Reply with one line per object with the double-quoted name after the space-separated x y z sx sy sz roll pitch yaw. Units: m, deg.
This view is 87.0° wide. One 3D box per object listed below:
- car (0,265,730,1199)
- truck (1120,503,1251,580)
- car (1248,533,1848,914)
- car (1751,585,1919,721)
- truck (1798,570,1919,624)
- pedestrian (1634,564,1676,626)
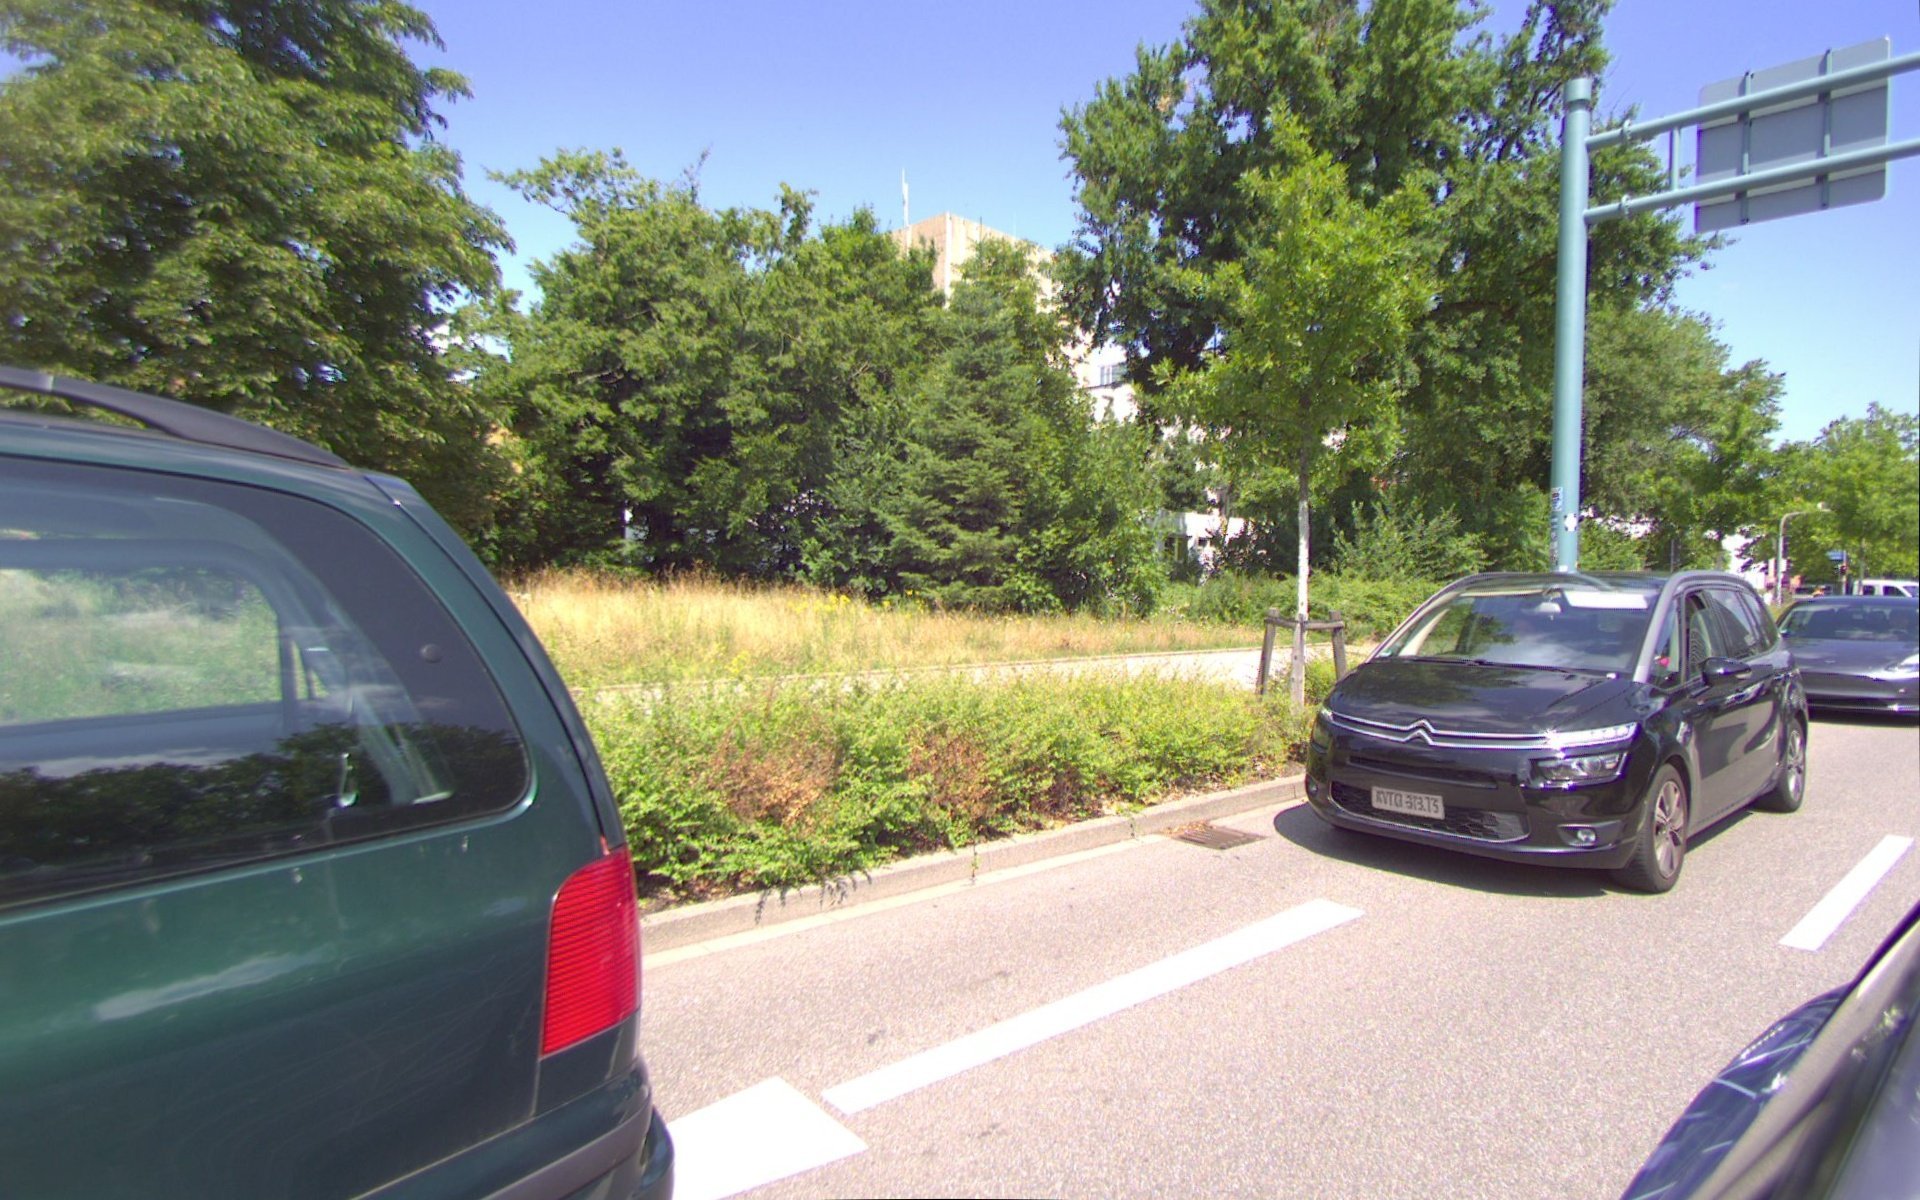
-2.567 0.556 0.741 4.369 1.745 1.797 0 -1 -40 "car"
9.895 -2.419 43.895 7.010 3.061 2.093 -1 1 -45 "truck"
3.973 0.536 6.504 4.438 1.643 1.862 0 -1 -39 "car"
11.345 0.559 12.484 4.288 1.435 1.763 0 -1 -42 "car"
42.164 -0.120 45.989 2.412 2.330 5.826 0 0 -20 "truck"
20.513 -0.152 29.867 0.827 1.787 0.844 -1 0 -40 "pedestrian"
